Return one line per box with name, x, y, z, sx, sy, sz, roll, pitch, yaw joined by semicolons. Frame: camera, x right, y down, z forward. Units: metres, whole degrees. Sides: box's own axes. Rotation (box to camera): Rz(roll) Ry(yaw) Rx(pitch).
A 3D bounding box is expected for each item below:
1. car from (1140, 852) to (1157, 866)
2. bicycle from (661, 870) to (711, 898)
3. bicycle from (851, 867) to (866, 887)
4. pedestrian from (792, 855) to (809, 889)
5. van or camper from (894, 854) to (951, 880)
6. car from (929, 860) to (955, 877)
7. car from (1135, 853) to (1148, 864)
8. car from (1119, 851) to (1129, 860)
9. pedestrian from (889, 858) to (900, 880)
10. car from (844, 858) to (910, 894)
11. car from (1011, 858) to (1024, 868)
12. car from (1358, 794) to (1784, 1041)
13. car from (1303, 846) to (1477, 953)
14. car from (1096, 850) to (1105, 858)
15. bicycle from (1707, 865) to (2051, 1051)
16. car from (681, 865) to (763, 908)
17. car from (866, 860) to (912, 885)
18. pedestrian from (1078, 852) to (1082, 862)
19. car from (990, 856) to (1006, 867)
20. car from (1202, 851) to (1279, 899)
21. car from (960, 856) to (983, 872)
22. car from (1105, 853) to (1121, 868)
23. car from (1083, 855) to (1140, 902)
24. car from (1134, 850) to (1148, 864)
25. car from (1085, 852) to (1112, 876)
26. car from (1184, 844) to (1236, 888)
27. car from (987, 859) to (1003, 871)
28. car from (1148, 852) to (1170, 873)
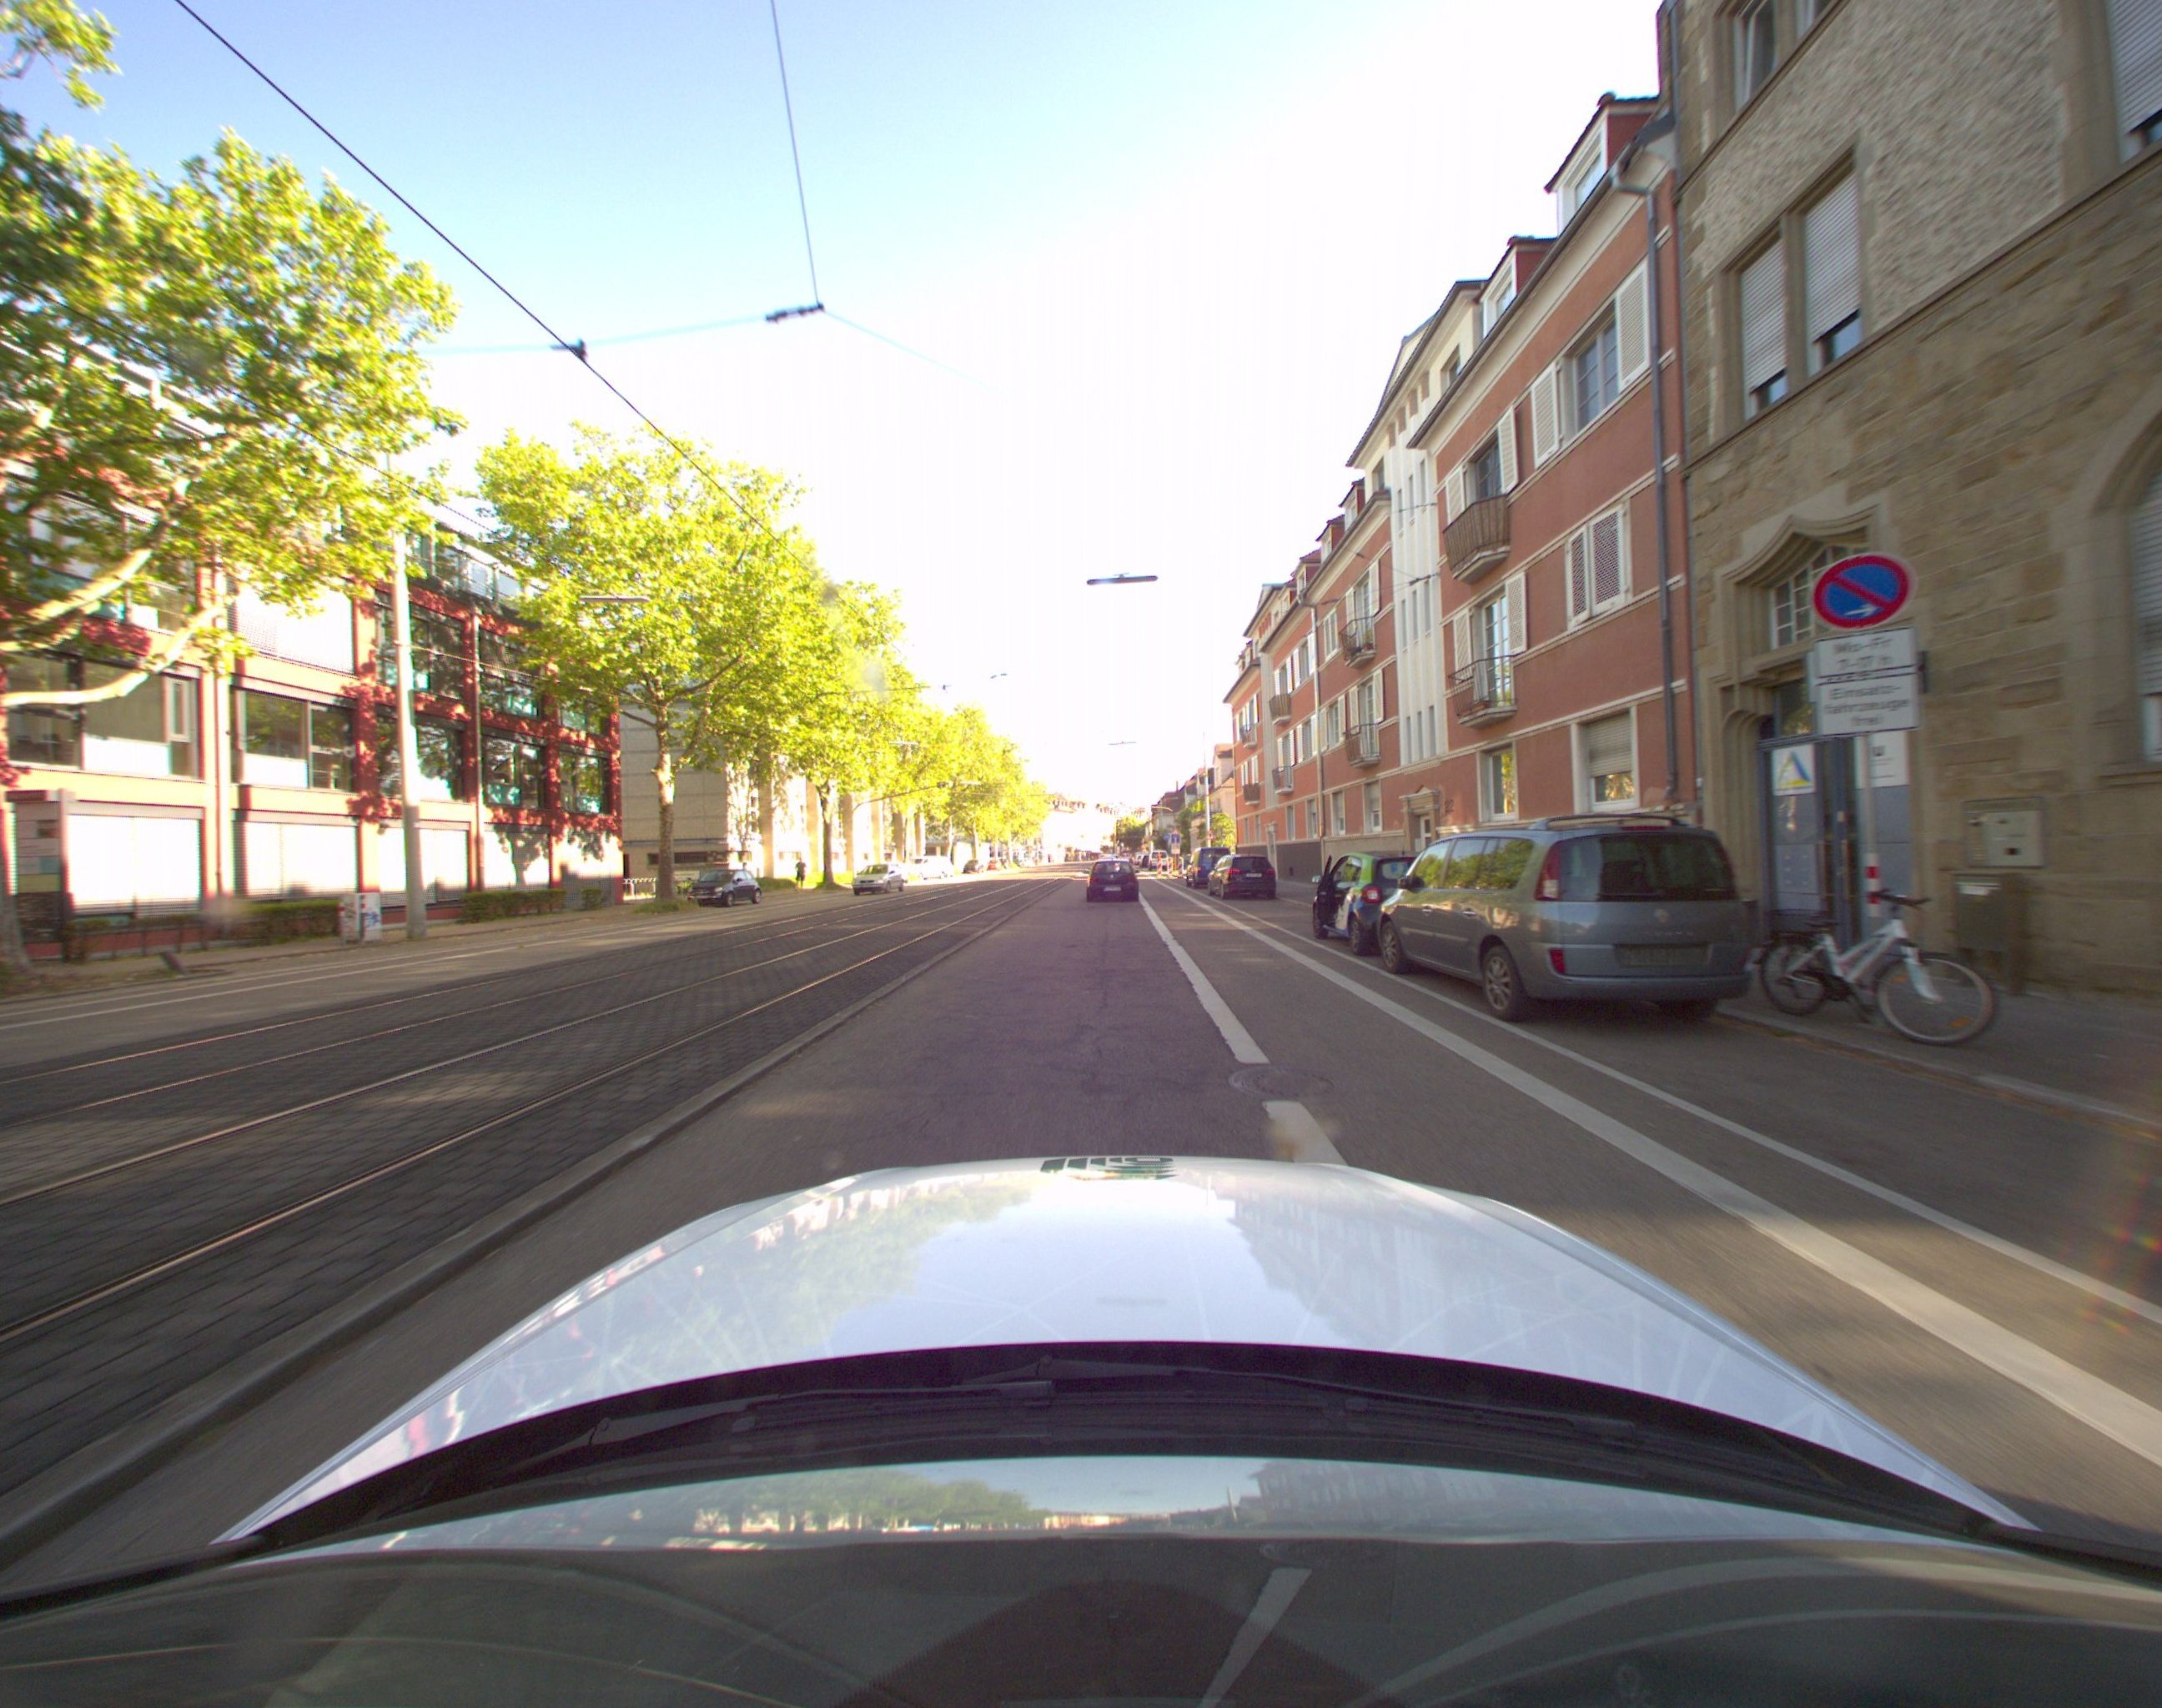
car;7.625;0.577;91.842;1.654;1.526;4.038;-2;0;2
bicycle;-18.799;1.411;38.778;2.001;1.278;0.664;0;0;2
bicycle;-13.880;1.436;50.925;0.580;1.209;1.651;0;0;-4
pedestrian;-15.429;0.985;44.827;0.789;1.870;0.665;0;0;-26
van or camper;-12.960;1.037;66.849;2.042;1.949;5.217;0;0;22
car;-12.645;1.296;74.307;1.568;1.507;4.092;0;0;2
car;8.157;0.546;109.714;1.574;1.375;4.002;-2;0;2
car;7.134;0.229;134.732;1.630;1.472;3.731;-2;0;2
pedestrian;-15.469;1.233;67.559;0.793;1.820;0.670;0;0;1
car;-9.793;1.020;39.424;1.745;1.518;4.076;-4;0;5
car;-10.620;1.533;136.459;1.877;1.669;3.805;0;0;1
car;4.567;0.485;8.649;1.746;1.855;4.818;-1;0;2
car;4.849;0.640;13.329;1.625;1.511;3.720;0;0;3
car;3.700;0.004;154.311;1.630;1.472;3.731;-5;0;2
bicycle;6.097;0.698;6.467;0.513;1.139;2.259;-3;0;1
car;-14.133;1.253;32.281;1.501;1.453;3.466;-2;1;3
car;-13.259;1.268;56.497;2.005;1.572;4.694;0;0;1
pedestrian;-0.304;0.905;216.247;1.091;2.659;0.960;0;0;3
car;-11.904;1.106;116.874;1.785;1.465;3.837;1;0;2
car;5.420;0.663;28.285;1.748;1.511;4.761;0;0;0
car;-12.186;1.126;91.058;1.880;1.666;4.002;-2;0;2
car;3.444;0.698;87.511;1.630;1.472;3.731;-2;0;2
car;0.985;0.775;27.598;1.742;1.375;4.000;-2;0;1
car;8.409;0.388;114.456;1.810;1.799;4.002;-2;0;2
car;1.274;0.637;56.518;1.741;1.537;3.894;-2;0;2
car;5.735;0.488;36.658;1.697;1.810;4.271;-2;0;0
car;-11.329;1.464;107.640;1.564;1.533;3.574;-2;-1;2
car;6.867;0.739;72.086;1.752;1.838;3.549;0;0;2
